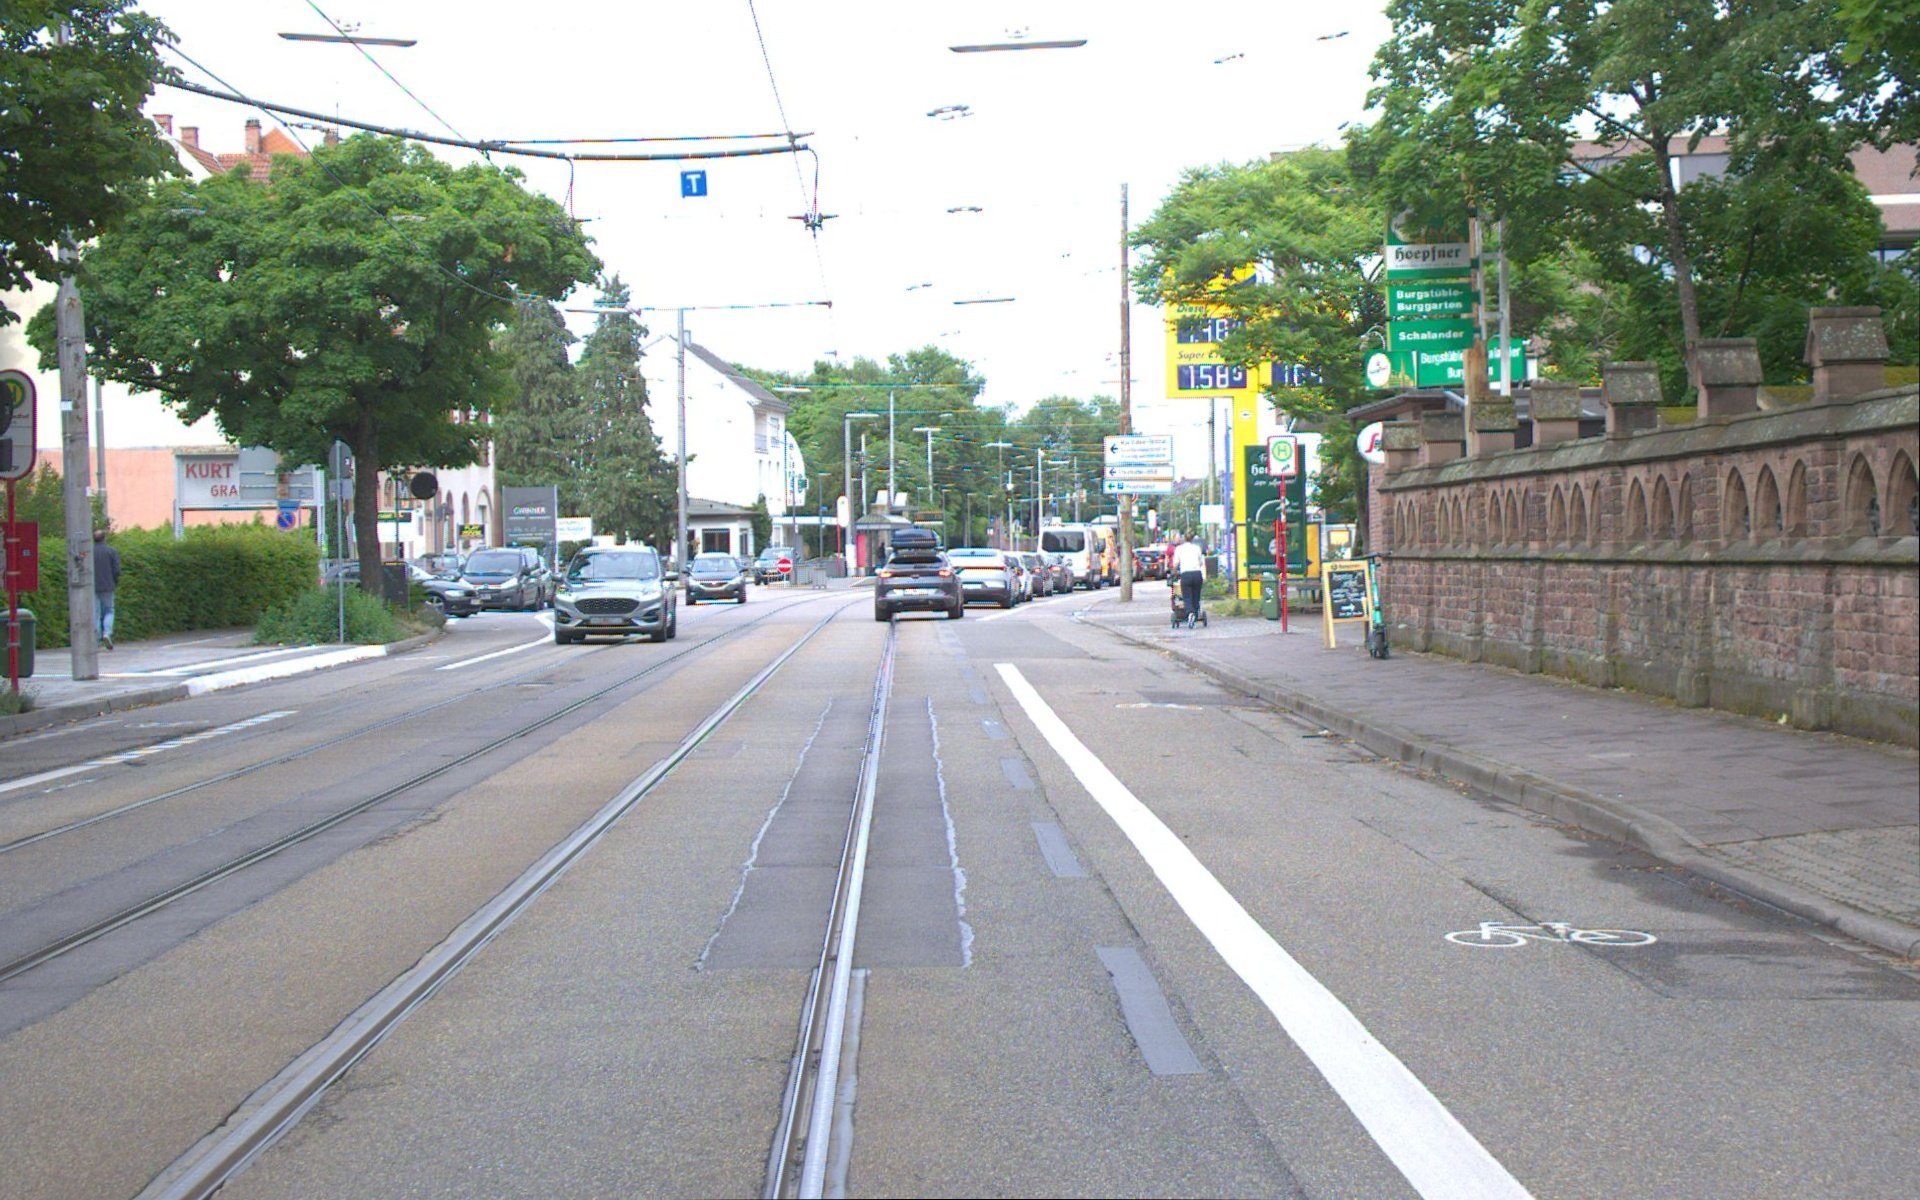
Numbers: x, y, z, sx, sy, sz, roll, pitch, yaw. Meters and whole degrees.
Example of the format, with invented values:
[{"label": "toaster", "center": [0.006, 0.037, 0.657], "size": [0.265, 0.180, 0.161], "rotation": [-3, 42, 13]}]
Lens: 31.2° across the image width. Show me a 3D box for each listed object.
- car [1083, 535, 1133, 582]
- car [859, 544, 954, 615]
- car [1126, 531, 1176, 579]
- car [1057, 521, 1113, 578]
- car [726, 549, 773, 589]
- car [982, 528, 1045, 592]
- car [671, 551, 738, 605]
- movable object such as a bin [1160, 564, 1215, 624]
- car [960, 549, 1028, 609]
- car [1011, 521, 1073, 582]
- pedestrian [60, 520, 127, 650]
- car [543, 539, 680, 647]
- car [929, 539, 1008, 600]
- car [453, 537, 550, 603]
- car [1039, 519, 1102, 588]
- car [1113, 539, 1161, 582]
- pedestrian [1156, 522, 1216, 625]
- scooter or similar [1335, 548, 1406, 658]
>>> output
[{"label": "car", "center": [6.465, -1.812, 150.567], "size": [1.993, 2.007, 4.000], "rotation": [0, 0, -1]}, {"label": "car", "center": [-1.141, -0.439, 74.611], "size": [1.990, 1.492, 4.326], "rotation": [0, 0, 0]}, {"label": "car", "center": [7.342, -1.733, 132.569], "size": [1.874, 1.817, 4.096], "rotation": [0, 0, 2]}, {"label": "car", "center": [4.898, -1.951, 133.977], "size": [2.139, 2.138, 4.743], "rotation": [0, 0, 3]}, {"label": "car", "center": [-9.437, -1.410, 154.484], "size": [1.827, 1.731, 4.335], "rotation": [-1, 0, 0]}, {"label": "car", "center": [1.744, -1.271, 110.798], "size": [1.993, 2.007, 4.000], "rotation": [0, 0, 2]}, {"label": "car", "center": [-7.711, -0.670, 104.005], "size": [1.747, 1.481, 4.063], "rotation": [-2, 2, -1]}, {"label": "movable object such as a bin", "center": [4.120, -0.111, 62.131], "size": [0.768, 1.035, 1.023], "rotation": [-3, 0, 14]}, {"label": "car", "center": [1.009, -0.624, 102.161], "size": [1.969, 1.750, 3.838], "rotation": [0, 0, 1]}, {"label": "car", "center": [2.812, -1.631, 117.045], "size": [1.994, 2.007, 4.000], "rotation": [0, 0, 3]}, {"label": "pedestrian", "center": [-13.514, -0.231, 53.653], "size": [0.710, 2.007, 0.990], "rotation": [0, 0, 6]}, {"label": "car", "center": [-5.900, -0.156, 58.598], "size": [1.842, 1.648, 4.389], "rotation": [-3, 1, -1]}, {"label": "car", "center": [0.195, -0.798, 89.080], "size": [1.981, 1.544, 4.183], "rotation": [0, 1, 0]}, {"label": "car", "center": [-13.483, -0.889, 101.278], "size": [1.992, 1.880, 4.998], "rotation": [0, 0, 2]}, {"label": "car", "center": [3.997, -1.671, 124.474], "size": [2.216, 2.415, 4.951], "rotation": [0, 0, 2]}, {"label": "car", "center": [8.374, -1.875, 162.800], "size": [1.993, 2.007, 4.000], "rotation": [0, 0, -1]}, {"label": "pedestrian", "center": [4.022, -0.477, 61.144], "size": [0.768, 1.790, 1.161], "rotation": [-3, 0, 14]}, {"label": "scooter or similar", "center": [4.836, 0.026, 40.580], "size": [0.577, 1.235, 1.410], "rotation": [-4, 1, 0]}]
